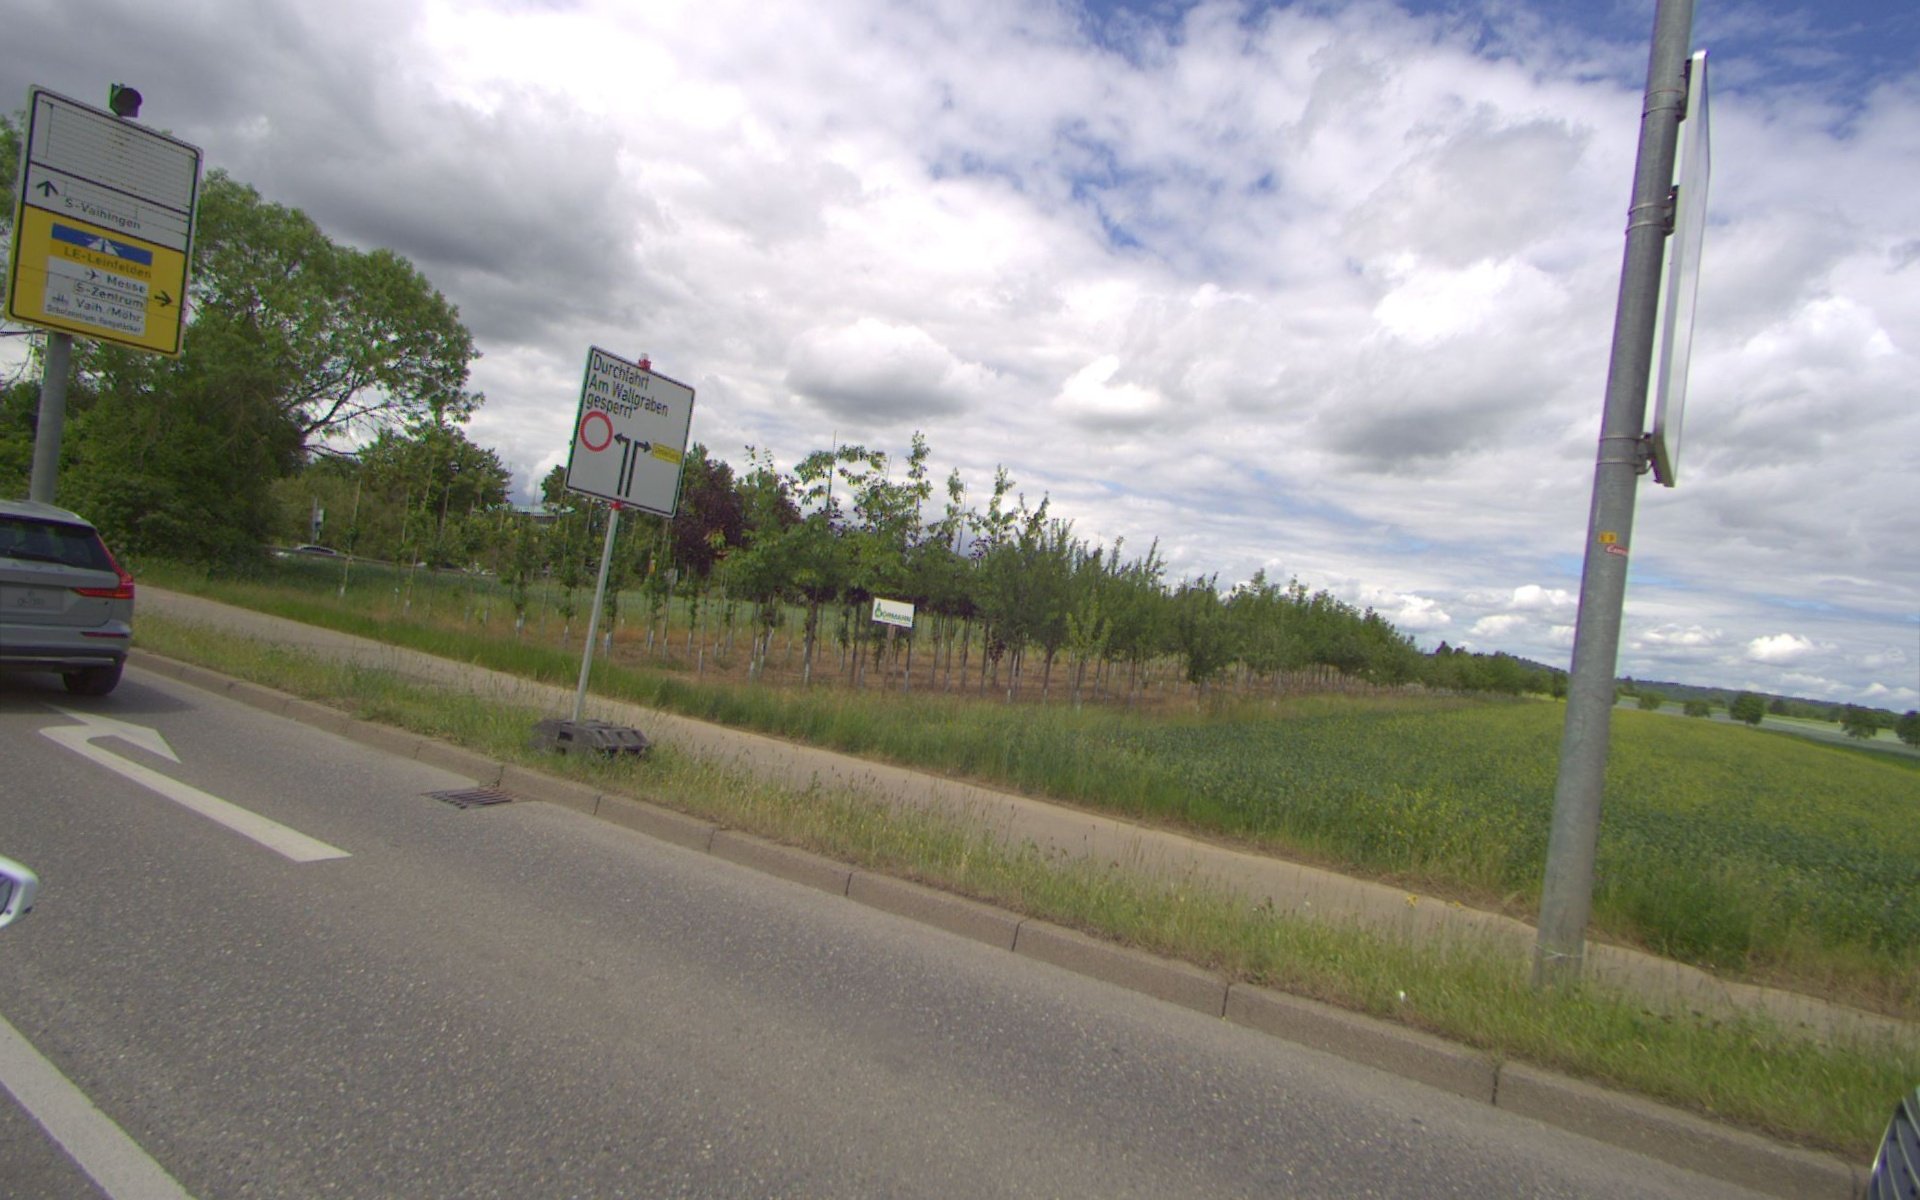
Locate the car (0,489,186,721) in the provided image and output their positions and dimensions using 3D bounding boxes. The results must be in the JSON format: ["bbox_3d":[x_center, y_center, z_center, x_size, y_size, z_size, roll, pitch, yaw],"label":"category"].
[{"bbox_3d":[-8.231,-0.174,7.917,4.372,1.537,1.865,7,0,31],"label":"car"}]

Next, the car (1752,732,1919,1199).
[{"bbox_3d":[3.955,1.285,0.629,5.112,1.458,1.875,7,0,30],"label":"car"}]
